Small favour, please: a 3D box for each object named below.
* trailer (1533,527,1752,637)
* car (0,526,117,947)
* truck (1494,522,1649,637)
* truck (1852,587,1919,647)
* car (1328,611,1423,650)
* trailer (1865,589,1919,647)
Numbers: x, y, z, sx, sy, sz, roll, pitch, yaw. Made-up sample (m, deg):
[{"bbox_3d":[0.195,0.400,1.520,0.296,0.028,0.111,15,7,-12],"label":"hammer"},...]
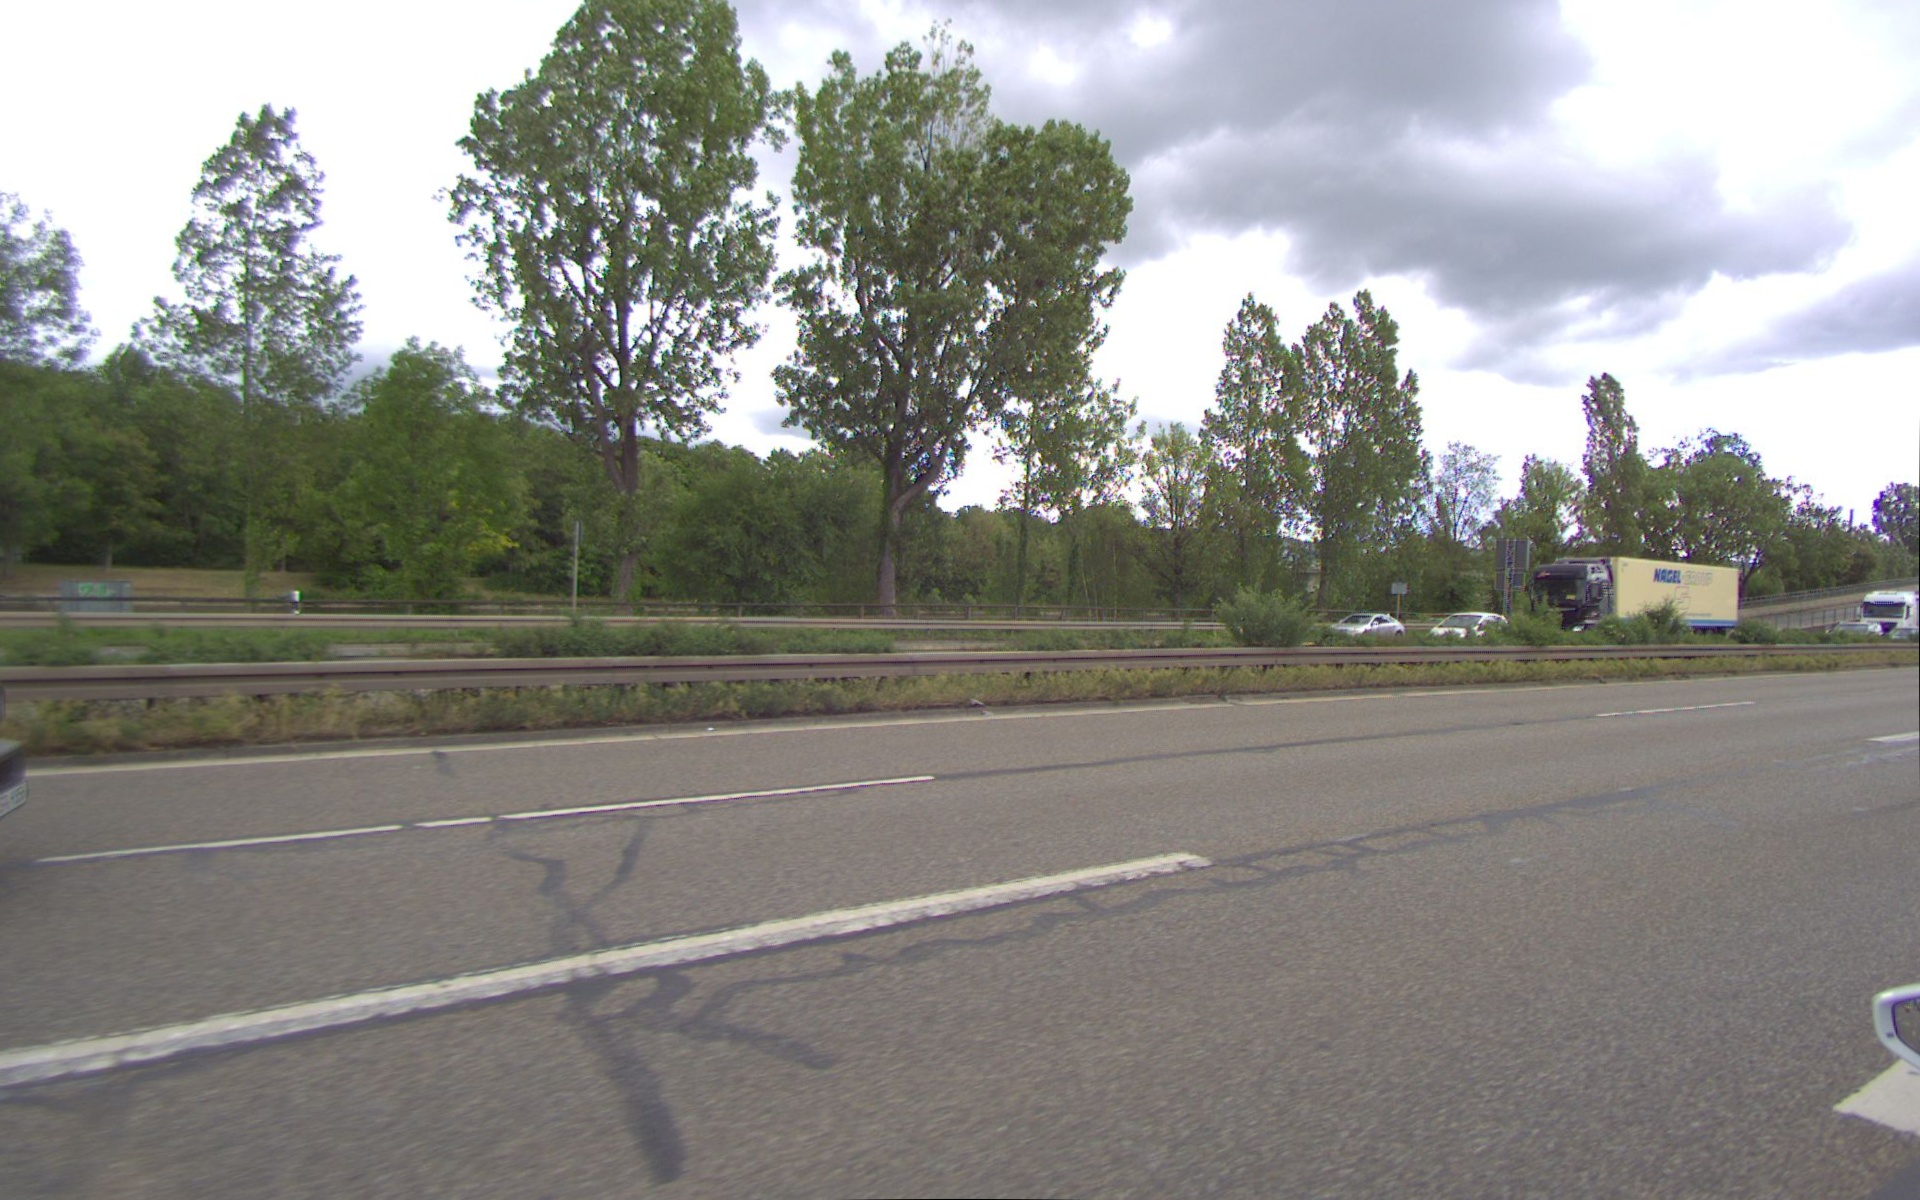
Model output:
[{"bbox_3d":[33.382,-0.675,48.737,14.627,4.736,3.442,1,1,-34],"label":"trailer"},{"bbox_3d":[-6.066,0.526,3.942,3.952,1.759,1.672,1,0,-31],"label":"car"},{"bbox_3d":[27.127,-0.825,44.517,6.146,4.736,3.442,1,2,-34],"label":"truck"},{"bbox_3d":[65.590,1.233,70.813,5.260,3.990,2.771,2,2,-35],"label":"truck"},{"bbox_3d":[19.640,1.414,47.451,4.559,1.666,1.980,1,3,-36],"label":"car"},{"bbox_3d":[71.517,1.421,75.027,13.379,4.002,2.771,2,2,-35],"label":"trailer"}]
